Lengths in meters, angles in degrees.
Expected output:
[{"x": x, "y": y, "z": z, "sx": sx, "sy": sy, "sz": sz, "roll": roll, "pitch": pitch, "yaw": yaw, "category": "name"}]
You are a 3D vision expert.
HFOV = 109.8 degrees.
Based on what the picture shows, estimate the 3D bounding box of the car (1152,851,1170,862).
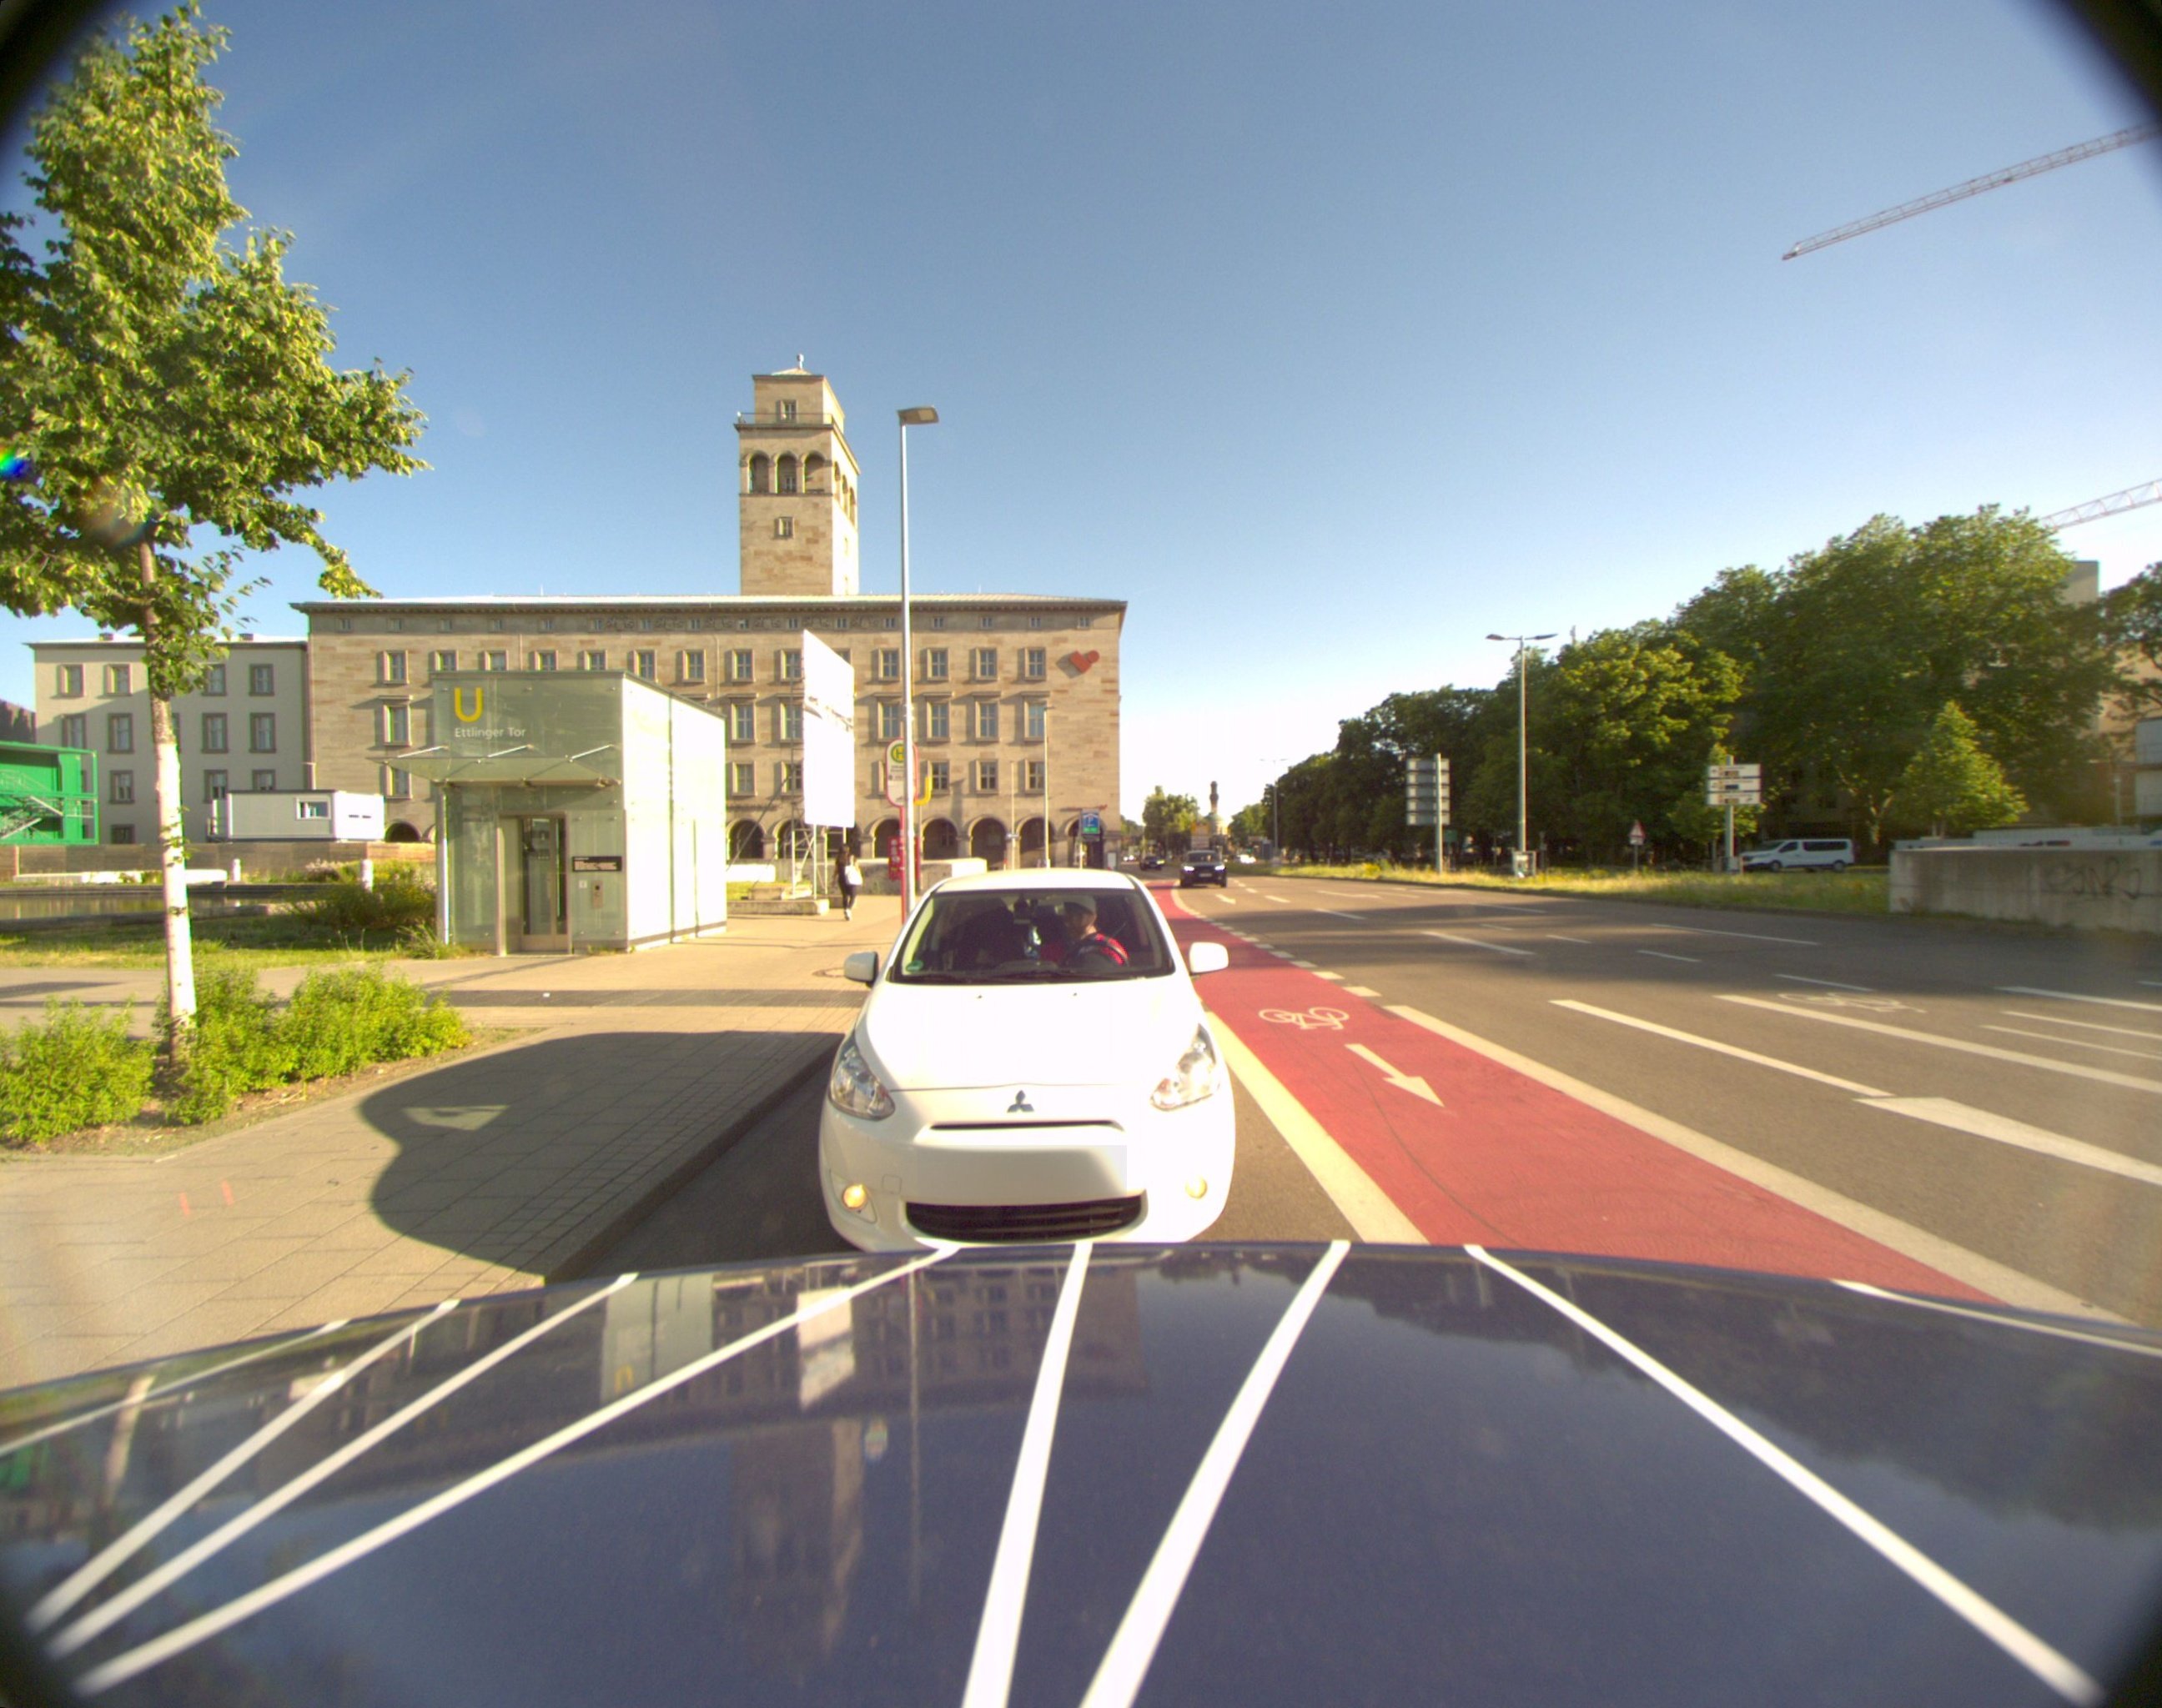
[{"x": 11.369, "y": 0.372, "z": 107.958, "sx": 1.999, "sy": 1.398, "sz": 4.488, "roll": -2, "pitch": 0, "yaw": -1, "category": "car"}]

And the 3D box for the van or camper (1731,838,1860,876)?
[{"x": 42.303, "y": 0.151, "z": 45.078, "sx": 5.649, "sy": 2.002, "sz": 1.948, "roll": -2, "pitch": 1, "yaw": 2, "category": "van or camper"}]

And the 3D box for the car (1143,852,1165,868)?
[{"x": 7.997, "y": 0.616, "z": 83.866, "sx": 1.999, "sy": 1.709, "sz": 4.325, "roll": -1, "pitch": 0, "yaw": -1, "category": "car"}]

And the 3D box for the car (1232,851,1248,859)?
[{"x": 28.457, "y": 0.179, "z": 135.984, "sx": 1.995, "sy": 1.499, "sz": 4.007, "roll": 0, "pitch": 0, "yaw": 24, "category": "car"}]

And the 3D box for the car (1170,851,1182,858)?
[{"x": 19.505, "y": 0.119, "z": 156.798, "sx": 1.872, "sy": 1.390, "sz": 3.999, "roll": -1, "pitch": 0, "yaw": -1, "category": "car"}]

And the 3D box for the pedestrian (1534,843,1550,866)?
[{"x": 33.860, "y": 0.039, "z": 55.776, "sx": 0.707, "sy": 1.715, "sz": 0.762, "roll": -1, "pitch": 1, "yaw": 2, "category": "pedestrian"}]

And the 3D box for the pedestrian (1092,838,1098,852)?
[{"x": 1.812, "y": -1.180, "z": 100.212, "sx": 0.704, "sy": 1.843, "sz": 0.828, "roll": -1, "pitch": 1, "yaw": 0, "category": "pedestrian"}]

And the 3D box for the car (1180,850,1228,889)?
[{"x": 5.549, "y": 0.637, "z": 34.795, "sx": 1.936, "sy": 1.634, "sz": 4.619, "roll": -1, "pitch": 0, "yaw": 7, "category": "car"}]

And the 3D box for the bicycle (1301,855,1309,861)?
[{"x": 31.995, "y": 0.501, "z": 108.735, "sx": 0.610, "sy": 0.838, "sz": 1.745, "roll": -1, "pitch": 0, "yaw": -1, "category": "bicycle"}]

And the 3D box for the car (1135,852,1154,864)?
[{"x": 8.381, "y": 0.508, "z": 100.500, "sx": 1.998, "sy": 1.398, "sz": 4.488, "roll": -2, "pitch": 0, "yaw": 0, "category": "car"}]

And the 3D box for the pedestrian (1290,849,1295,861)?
[{"x": 32.223, "y": 0.111, "z": 115.801, "sx": 0.627, "sy": 1.837, "sz": 0.926, "roll": -1, "pitch": 1, "yaw": 7, "category": "pedestrian"}]

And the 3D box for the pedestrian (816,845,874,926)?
[{"x": -5.329, "y": 0.691, "z": 17.229, "sx": 0.942, "sy": 1.776, "sz": 1.072, "roll": 1, "pitch": 1, "yaw": 1, "category": "pedestrian"}]

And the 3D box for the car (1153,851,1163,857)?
[{"x": 18.600, "y": 0.082, "z": 184.366, "sx": 1.873, "sy": 1.390, "sz": 3.999, "roll": -1, "pitch": 0, "yaw": -2, "category": "car"}]

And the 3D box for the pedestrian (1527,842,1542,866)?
[{"x": 33.295, "y": 0.005, "z": 55.813, "sx": 0.665, "sy": 1.715, "sz": 0.762, "roll": -1, "pitch": 1, "yaw": 1, "category": "pedestrian"}]

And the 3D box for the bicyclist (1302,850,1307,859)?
[{"x": 31.992, "y": 0.087, "z": 108.727, "sx": 0.610, "sy": 1.274, "sz": 0.715, "roll": -1, "pitch": 1, "yaw": -1, "category": "bicyclist"}]

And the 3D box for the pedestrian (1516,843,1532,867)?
[{"x": 32.482, "y": 0.073, "z": 55.690, "sx": 0.707, "sy": 1.715, "sz": 0.762, "roll": -1, "pitch": 1, "yaw": 1, "category": "pedestrian"}]

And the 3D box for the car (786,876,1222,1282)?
[{"x": -0.194, "y": 0.961, "z": 4.944, "sx": 1.678, "sy": 1.440, "sz": 3.890, "roll": -2, "pitch": 0, "yaw": 4, "category": "car"}]
